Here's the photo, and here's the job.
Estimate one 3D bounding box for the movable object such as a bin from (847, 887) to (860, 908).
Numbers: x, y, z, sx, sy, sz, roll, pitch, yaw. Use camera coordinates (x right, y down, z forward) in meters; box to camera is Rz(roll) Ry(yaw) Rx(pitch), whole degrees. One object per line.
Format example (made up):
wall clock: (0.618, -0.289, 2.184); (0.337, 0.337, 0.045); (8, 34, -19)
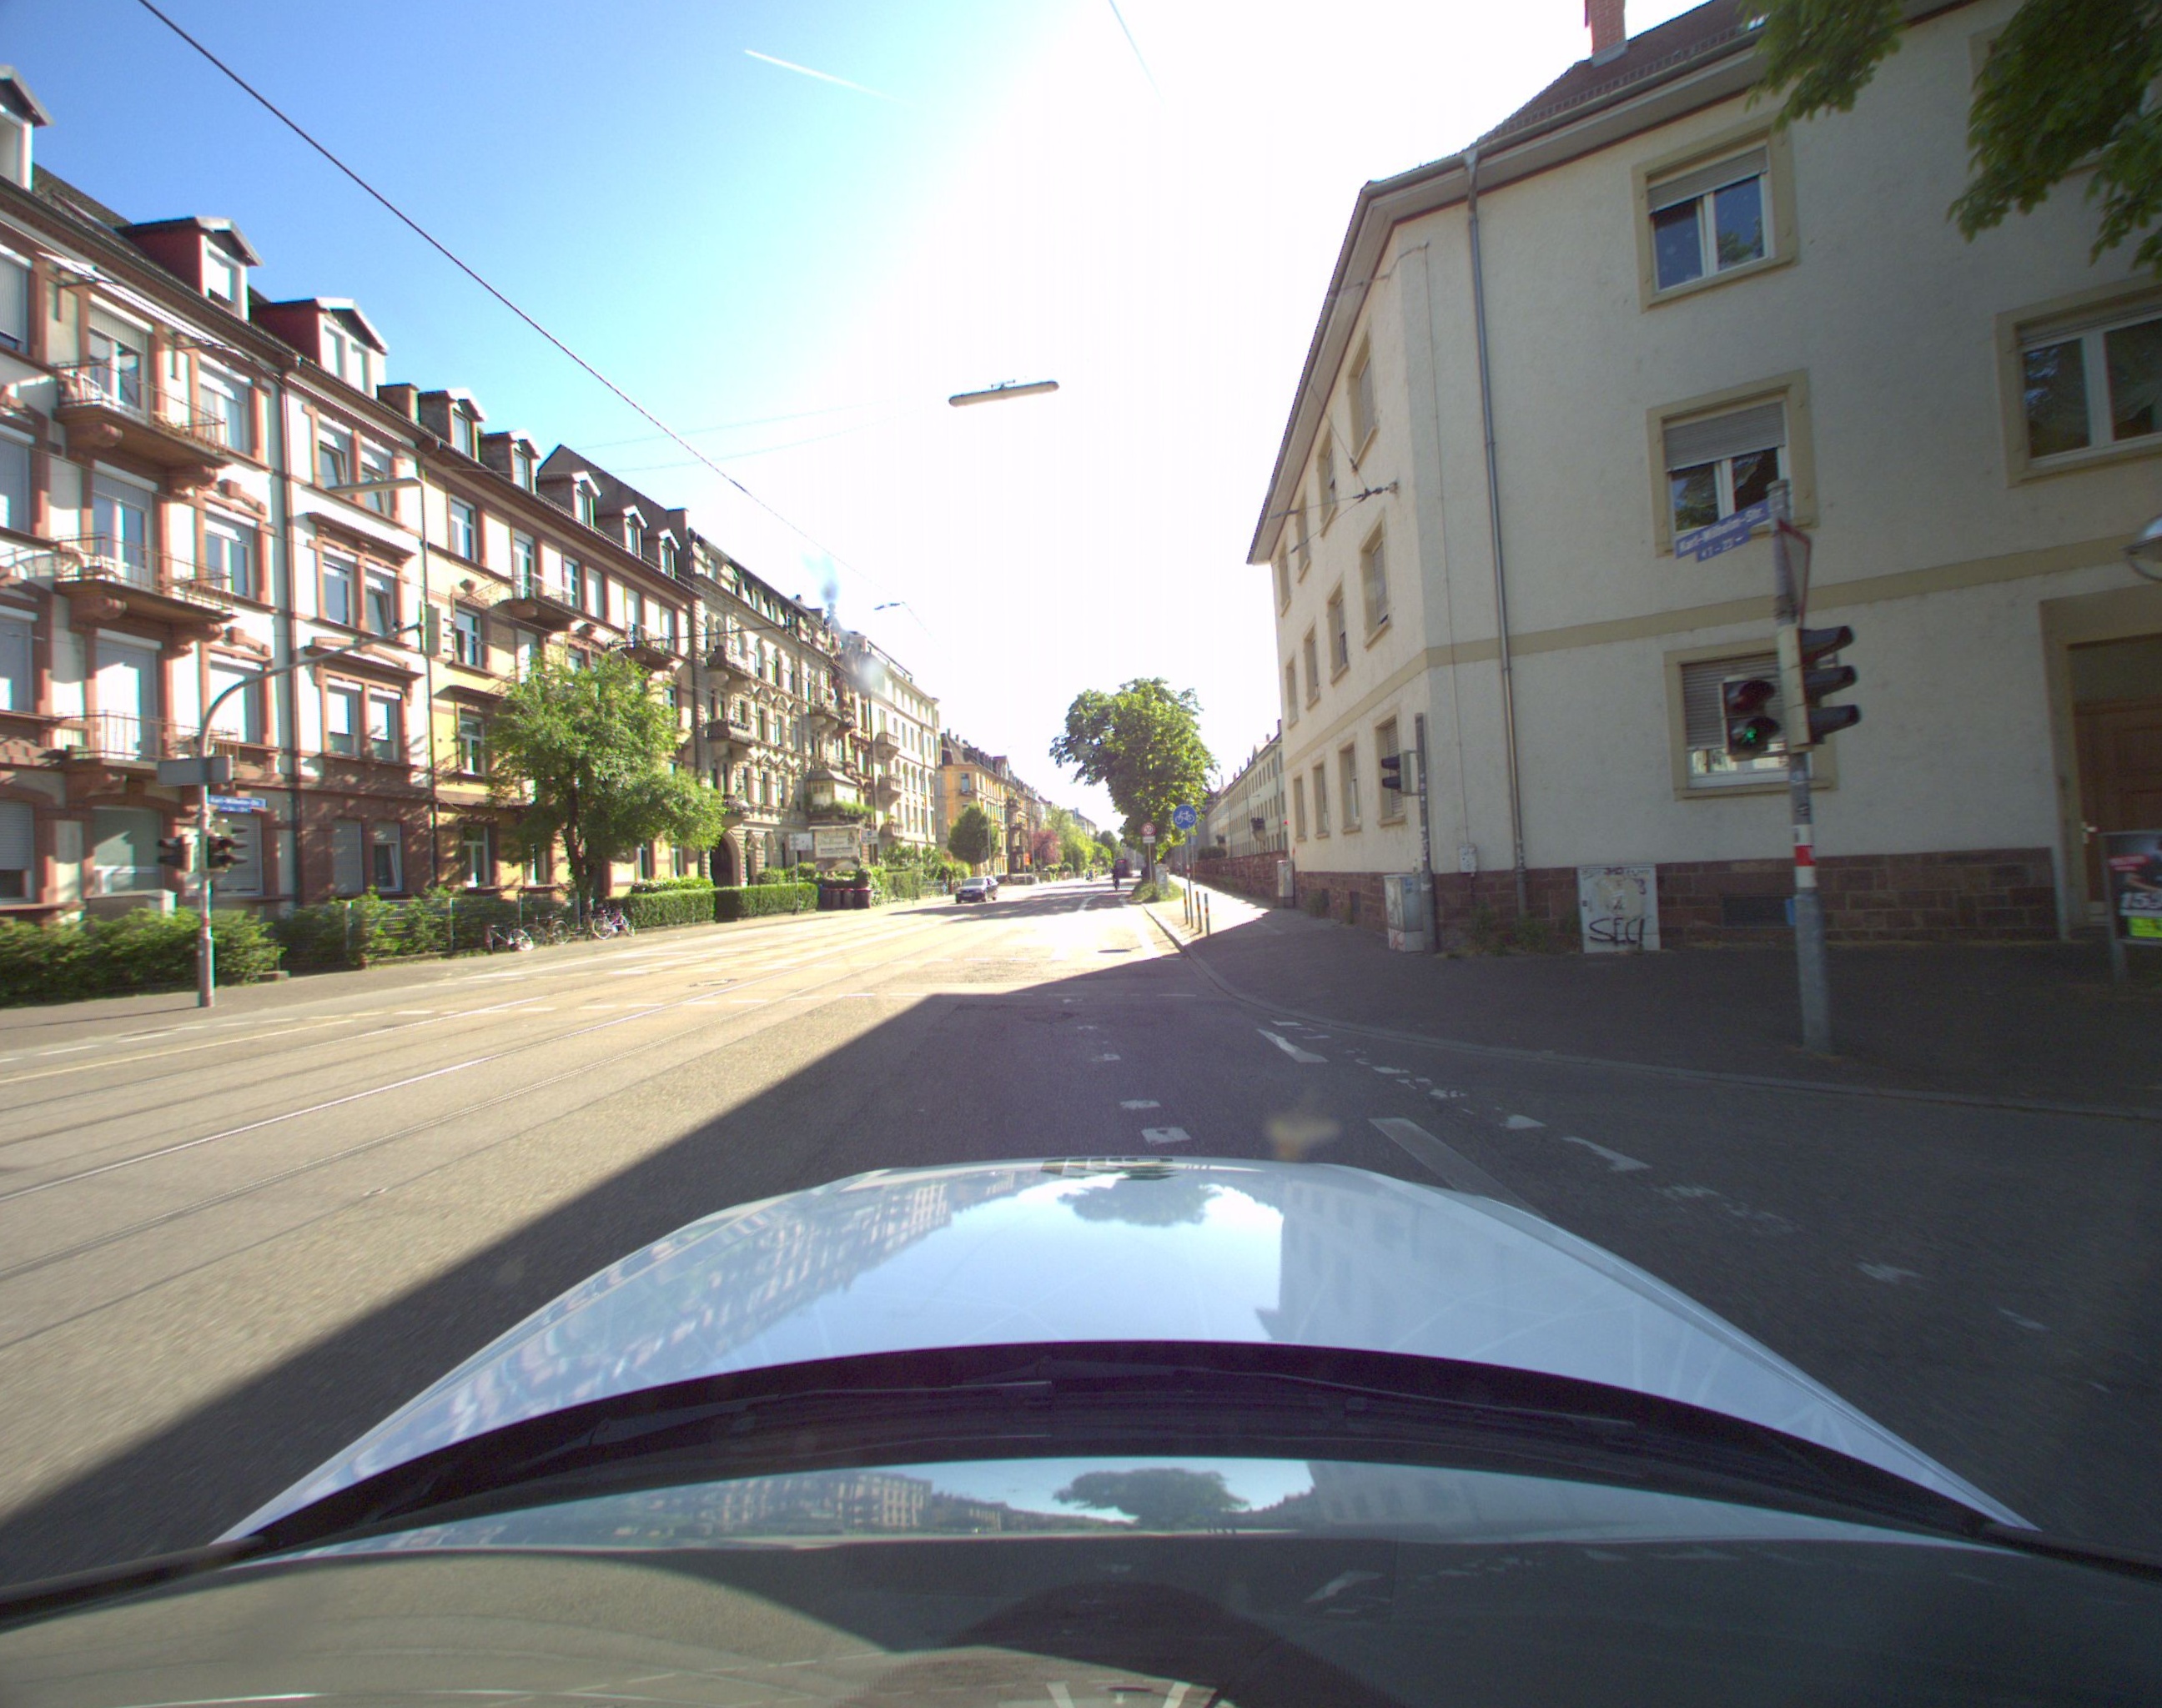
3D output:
movable object such as a bin: (-12.343, 2.372, 44.232); (0.477, 1.086, 0.542); (-2, -1, 6)

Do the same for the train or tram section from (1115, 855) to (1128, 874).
train or tram section: (7.669, 1.995, 153.419); (2.143, 3.432, 6.619); (-2, -1, 5)

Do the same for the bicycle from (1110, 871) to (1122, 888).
bicycle: (2.421, 1.734, 55.976); (0.688, 1.112, 1.721); (-2, -1, 5)

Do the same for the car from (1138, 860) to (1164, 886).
car: (4.999, 1.337, 58.251); (1.736, 1.766, 4.482); (-2, -1, 4)

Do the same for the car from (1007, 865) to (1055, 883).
car: (-4.939, 1.997, 80.417); (4.422, 1.644, 1.970); (-2, -1, 7)

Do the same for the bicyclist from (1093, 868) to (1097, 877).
bicyclist: (2.908, 3.918, 173.069); (0.657, 1.801, 0.616); (-5, -2, 5)

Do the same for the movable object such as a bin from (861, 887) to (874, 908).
movable object such as a bin: (-11.637, 2.366, 44.398); (0.477, 1.086, 0.542); (-2, -1, 6)

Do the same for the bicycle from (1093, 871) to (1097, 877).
bicycle: (2.914, 4.275, 172.990); (0.688, 1.112, 1.721); (-5, -1, 5)

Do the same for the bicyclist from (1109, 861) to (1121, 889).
bicyclist: (2.370, 1.449, 56.110); (0.724, 1.848, 0.837); (-2, -1, 4)

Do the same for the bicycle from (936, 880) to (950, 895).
bicycle: (-10.443, 2.530, 61.512); (0.560, 1.033, 1.770); (-2, 0, 5)

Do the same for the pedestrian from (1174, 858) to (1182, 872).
pedestrian: (12.012, 1.370, 100.564); (0.755, 1.724, 0.583); (-3, -1, 34)

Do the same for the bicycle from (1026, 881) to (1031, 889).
bicycle: (-6.948, 4.058, 107.649); (0.333, 1.001, 1.872); (-2, -1, 5)

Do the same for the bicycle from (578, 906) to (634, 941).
bicycle: (-14.808, 2.146, 25.433); (0.340, 0.926, 1.948); (-2, -1, 9)

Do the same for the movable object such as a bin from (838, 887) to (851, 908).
movable object such as a bin: (-12.630, 2.345, 43.528); (0.477, 1.086, 0.542); (-2, -1, 6)

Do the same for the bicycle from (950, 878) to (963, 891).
bicycle: (-10.019, 2.460, 65.548); (0.560, 1.033, 1.769); (-2, -1, 4)

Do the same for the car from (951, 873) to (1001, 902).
car: (-6.059, 1.902, 47.598); (1.823, 1.518, 4.974); (-1, -1, 5)

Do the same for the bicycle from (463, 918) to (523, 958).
bicycle: (-15.388, 2.187, 21.351); (0.340, 0.926, 1.456); (-2, -1, 9)

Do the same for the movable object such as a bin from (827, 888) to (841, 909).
movable object such as a bin: (-13.202, 2.397, 43.549); (0.477, 1.086, 0.542); (-2, -1, 6)

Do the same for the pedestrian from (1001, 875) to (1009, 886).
pedestrian: (-10.030, 3.555, 107.678); (0.896, 1.352, 0.578); (-5, -2, 6)

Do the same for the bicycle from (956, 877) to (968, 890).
bicycle: (-9.896, 2.461, 67.718); (0.560, 1.033, 1.769); (-2, -1, 4)

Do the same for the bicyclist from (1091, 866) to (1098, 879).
bicyclist: (1.553, 2.078, 92.246); (0.615, 1.468, 0.634); (-2, -1, -16)

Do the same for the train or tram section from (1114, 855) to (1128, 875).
train or tram section: (7.228, 1.928, 146.786); (2.143, 3.432, 6.619); (-2, -1, 5)

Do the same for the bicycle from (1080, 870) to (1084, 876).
bicycle: (0.251, 3.390, 144.601); (0.458, 0.926, 2.205); (-5, -1, 5)

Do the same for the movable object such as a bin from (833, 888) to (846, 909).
movable object such as a bin: (-13.089, 2.411, 44.141); (0.477, 1.086, 0.542); (-2, -1, 6)

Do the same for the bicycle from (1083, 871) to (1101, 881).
bicycle: (1.287, 2.506, 92.108); (1.916, 1.112, 0.690); (-2, -1, -17)

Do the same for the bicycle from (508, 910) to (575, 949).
bicycle: (-15.370, 2.137, 23.252); (0.340, 0.926, 1.948); (-2, -1, 9)

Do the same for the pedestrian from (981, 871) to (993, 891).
pedestrian: (-8.388, 2.420, 72.576); (0.826, 1.724, 1.082); (-2, -2, 1)
